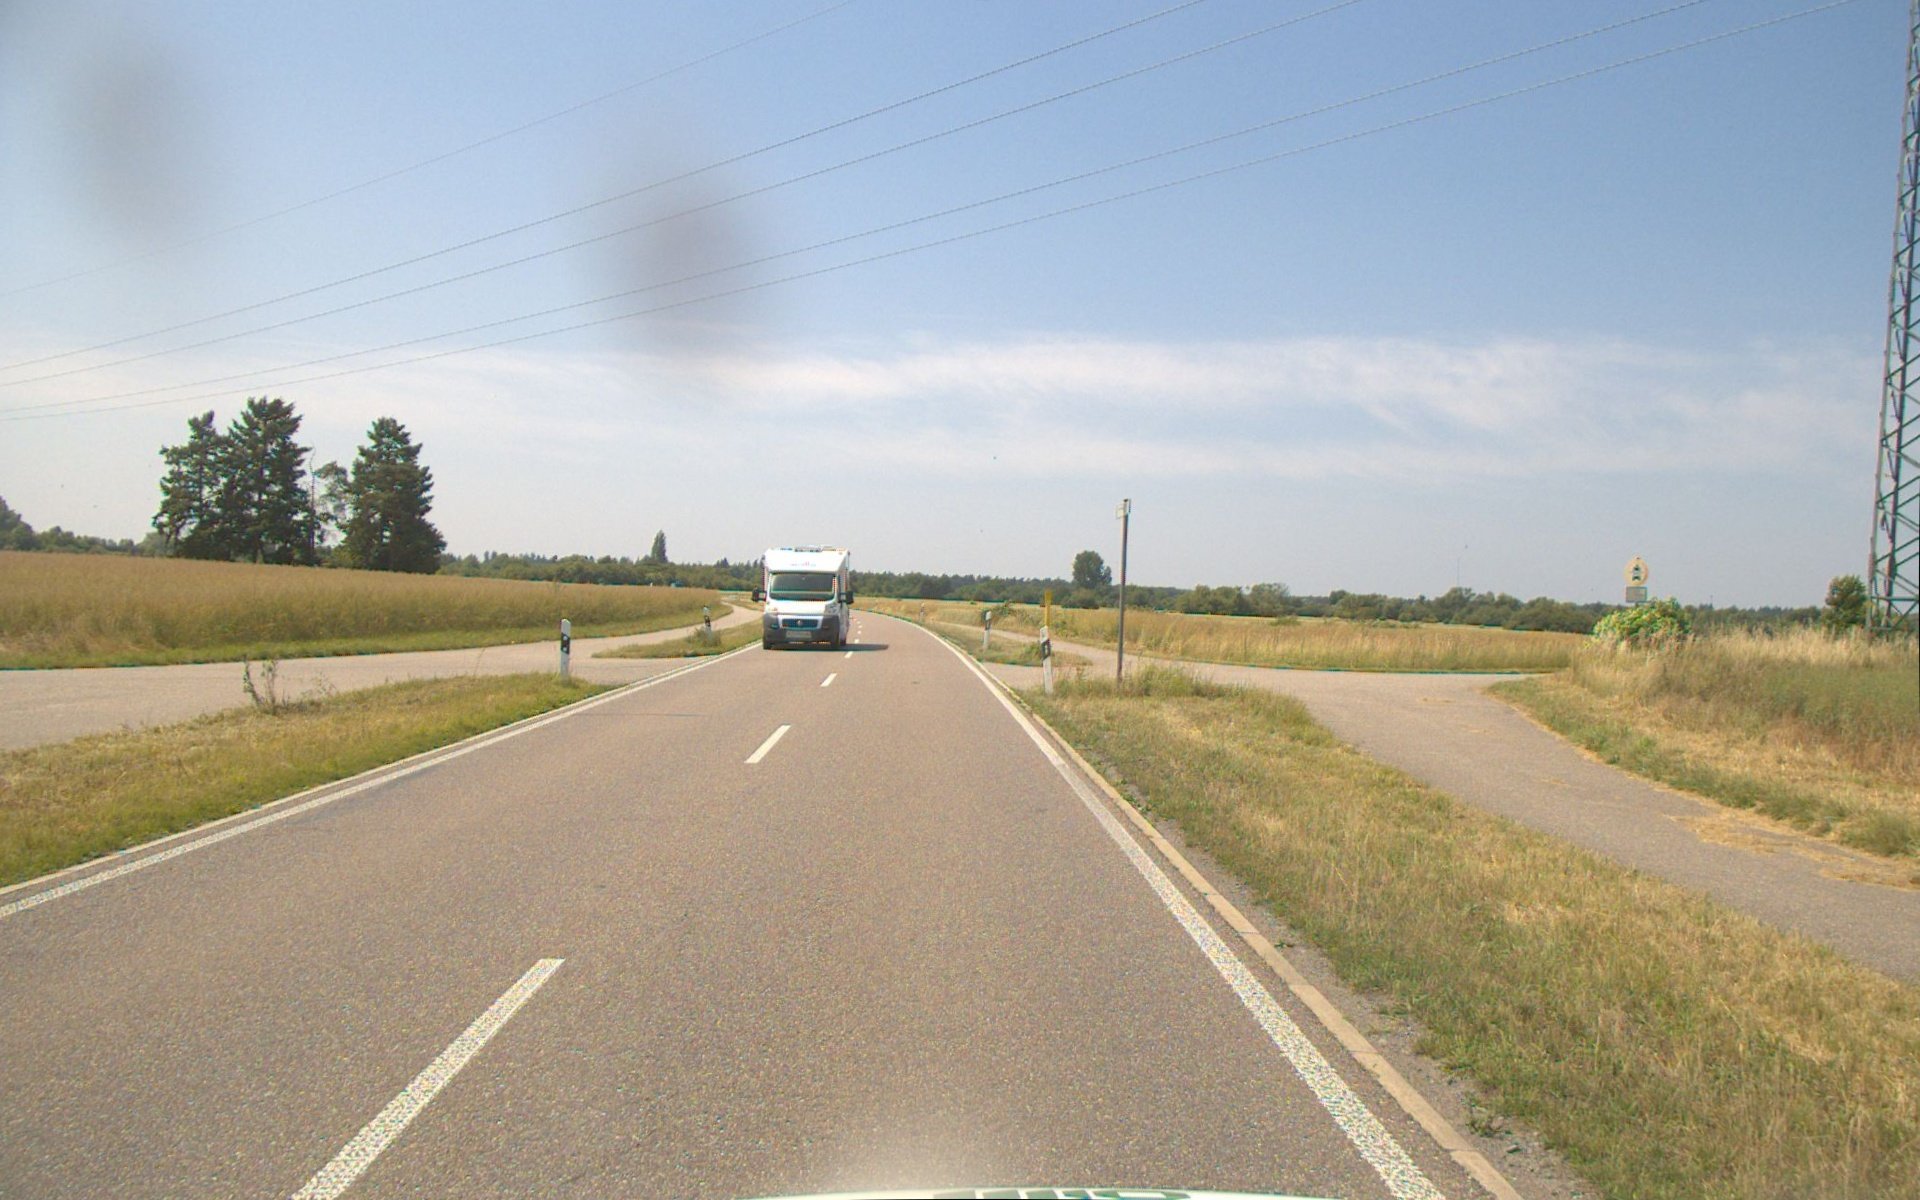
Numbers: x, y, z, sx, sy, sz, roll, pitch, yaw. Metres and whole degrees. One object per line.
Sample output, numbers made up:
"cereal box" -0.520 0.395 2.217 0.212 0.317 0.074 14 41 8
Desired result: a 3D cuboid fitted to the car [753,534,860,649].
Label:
"car" -4.167 -0.217 46.268 2.348 2.896 7.626 1 0 -1
